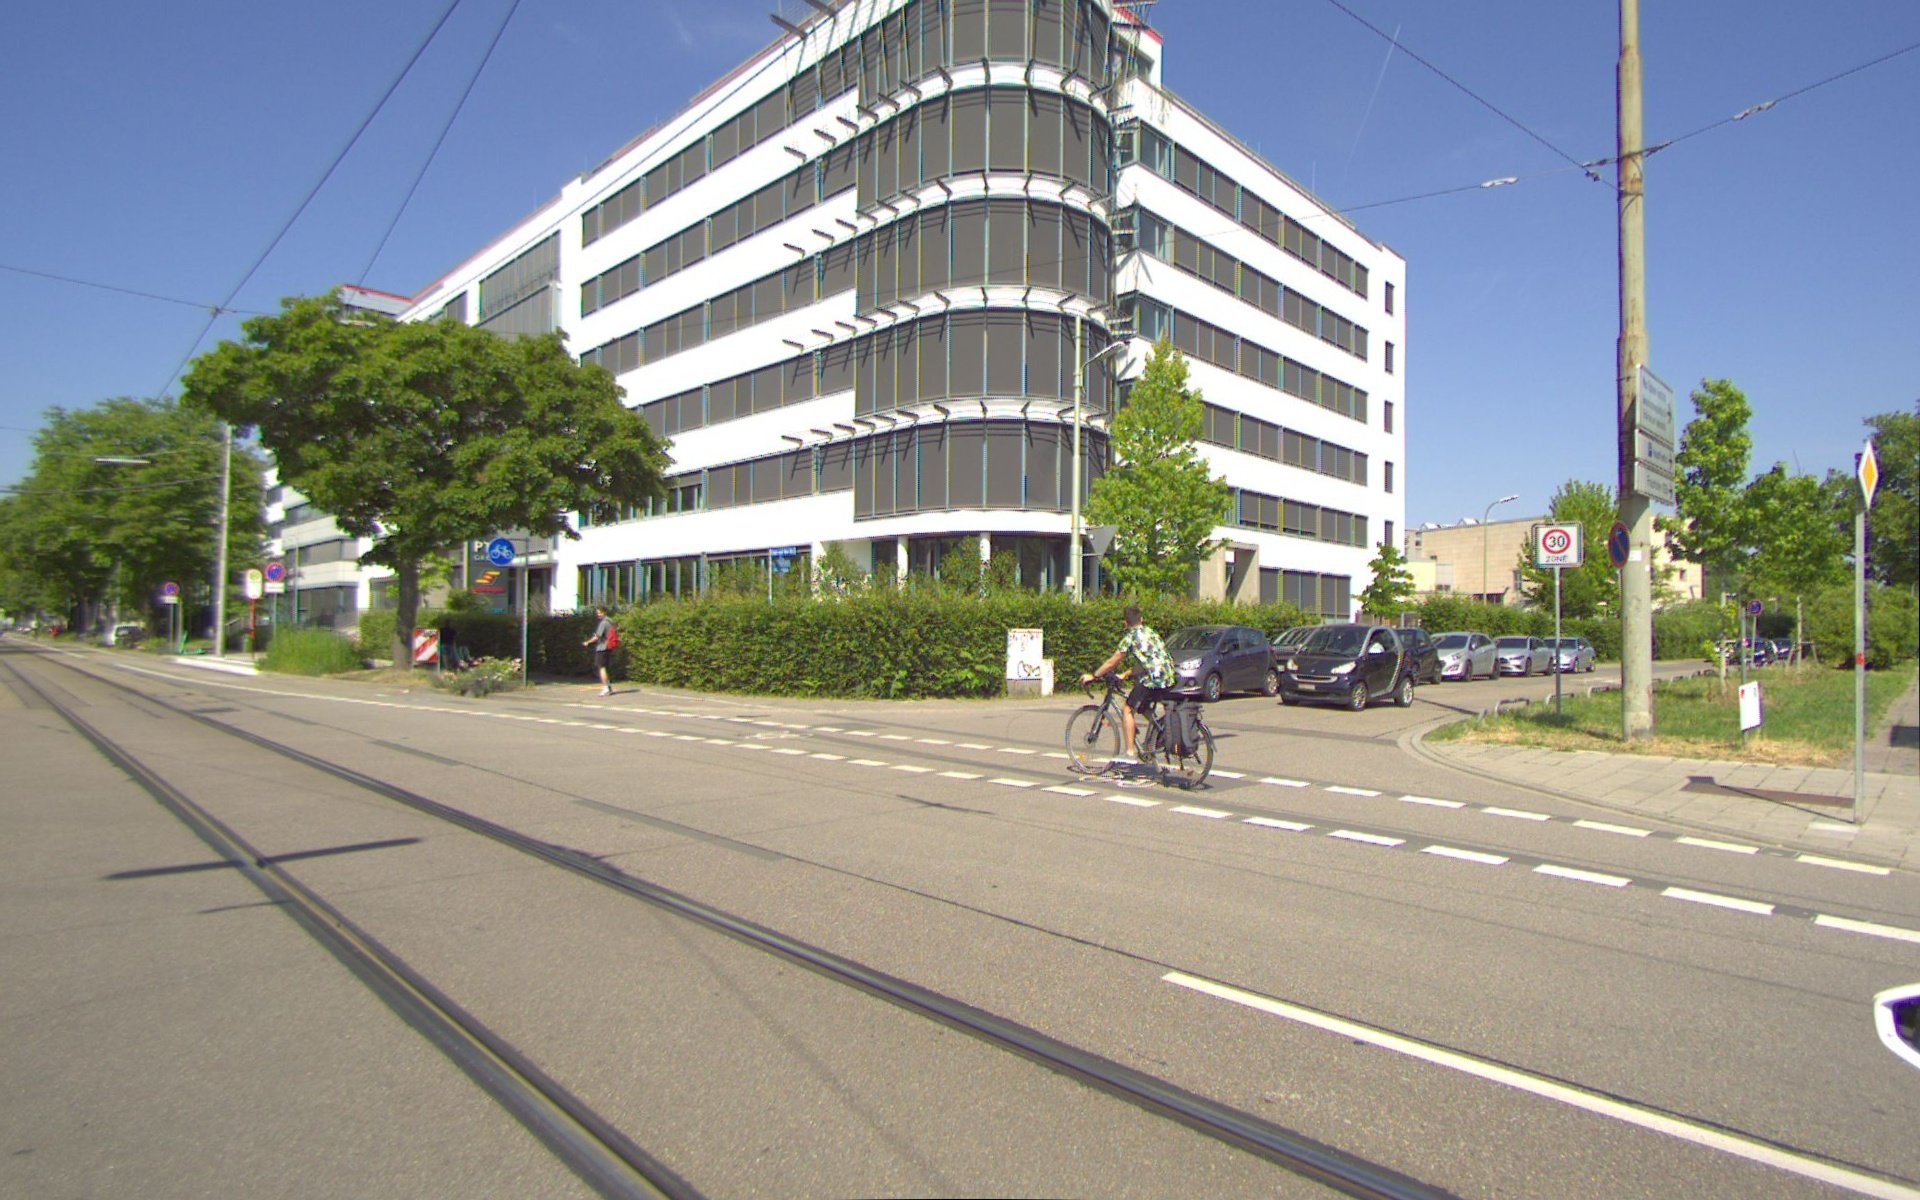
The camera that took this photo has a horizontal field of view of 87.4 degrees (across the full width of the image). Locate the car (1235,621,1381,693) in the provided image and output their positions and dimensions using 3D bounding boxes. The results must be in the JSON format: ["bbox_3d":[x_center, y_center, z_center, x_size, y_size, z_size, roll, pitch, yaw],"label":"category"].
[{"bbox_3d":[8.262,1.299,23.671,1.790,1.539,4.146,-1,-2,42],"label":"car"}]

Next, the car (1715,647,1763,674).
[{"bbox_3d":[45.665,3.530,58.842,1.908,1.468,3.807,-1,-2,42],"label":"car"}]

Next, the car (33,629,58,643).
[{"bbox_3d":[-96.482,3.792,105.979,3.846,1.373,1.626,-1,-2,43],"label":"car"}]

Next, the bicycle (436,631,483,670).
[{"bbox_3d":[-15.309,1.531,30.702,2.038,1.132,0.634,-1,-3,44],"label":"bicycle"}]

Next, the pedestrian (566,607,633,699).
[{"bbox_3d":[-7.440,1.080,20.722,1.058,1.842,0.888,-1,-2,41],"label":"pedestrian"}]

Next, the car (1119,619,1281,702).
[{"bbox_3d":[4.990,1.186,20.585,1.681,1.547,3.676,-1,-2,42],"label":"car"}]

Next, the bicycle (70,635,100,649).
[{"bbox_3d":[-68.324,3.265,78.404,0.472,1.100,1.720,-1,-2,43],"label":"bicycle"}]

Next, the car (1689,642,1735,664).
[{"bbox_3d":[51.676,3.615,68.990,3.802,1.468,1.911,3,-3,-44],"label":"car"}]

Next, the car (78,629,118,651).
[{"bbox_3d":[-62.093,2.872,72.312,4.212,1.502,1.626,-1,-3,42],"label":"car"}]

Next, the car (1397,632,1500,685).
[{"bbox_3d":[15.120,1.750,31.013,1.790,1.525,4.022,-2,-2,42],"label":"car"}]

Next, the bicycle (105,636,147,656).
[{"bbox_3d":[-46.647,2.547,56.173,0.778,1.100,1.720,-1,-2,43],"label":"bicycle"}]

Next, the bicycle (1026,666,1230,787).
[{"bbox_3d":[1.610,1.203,10.009,0.605,0.997,2.139,2,-2,-39],"label":"bicycle"}]

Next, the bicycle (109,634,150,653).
[{"bbox_3d":[-50.147,2.625,60.667,0.676,1.156,1.868,-1,-2,43],"label":"bicycle"}]

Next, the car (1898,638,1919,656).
[{"bbox_3d":[82.757,4.034,86.502,3.783,1.468,1.921,2,-2,-30],"label":"car"}]

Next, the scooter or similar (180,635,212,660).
[{"bbox_3d":[-36.269,2.245,47.705,1.122,1.182,0.667,2,-2,-44],"label":"scooter or similar"}]

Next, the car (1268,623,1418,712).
[{"bbox_3d":[7.288,1.218,19.021,2.953,1.559,1.461,1,-2,-41],"label":"car"}]

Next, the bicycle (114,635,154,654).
[{"bbox_3d":[-48.682,2.633,59.210,0.631,1.100,1.720,-1,-2,43],"label":"bicycle"}]

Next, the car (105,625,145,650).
[{"bbox_3d":[-53.228,2.385,64.003,1.625,1.491,3.583,2,-3,-44],"label":"car"}]

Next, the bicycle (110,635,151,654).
[{"bbox_3d":[-49.686,2.660,60.180,0.671,1.147,1.844,-1,-2,43],"label":"bicycle"}]

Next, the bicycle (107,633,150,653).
[{"bbox_3d":[-50.596,2.617,61.121,0.808,1.185,1.899,-1,-2,43],"label":"bicycle"}]

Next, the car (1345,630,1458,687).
[{"bbox_3d":[12.305,1.587,27.866,1.758,1.463,3.829,-1,-2,42],"label":"car"}]

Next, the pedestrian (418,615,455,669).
[{"bbox_3d":[-15.820,1.250,30.343,0.973,1.584,0.685,-1,-1,40],"label":"pedestrian"}]

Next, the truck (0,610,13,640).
[{"bbox_3d":[-103.977,2.659,108.292,5.955,3.149,2.396,-2,-3,44],"label":"truck"}]

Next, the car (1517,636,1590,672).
[{"bbox_3d":[23.771,2.135,40.187,1.790,1.340,3.807,-1,-2,42],"label":"car"}]

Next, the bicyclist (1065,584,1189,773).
[{"bbox_3d":[1.645,0.749,9.927,0.713,1.746,0.976,2,-2,-40],"label":"bicyclist"}]

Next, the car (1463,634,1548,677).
[{"bbox_3d":[19.271,1.939,35.424,1.790,1.422,3.807,-1,-3,42],"label":"car"}]
